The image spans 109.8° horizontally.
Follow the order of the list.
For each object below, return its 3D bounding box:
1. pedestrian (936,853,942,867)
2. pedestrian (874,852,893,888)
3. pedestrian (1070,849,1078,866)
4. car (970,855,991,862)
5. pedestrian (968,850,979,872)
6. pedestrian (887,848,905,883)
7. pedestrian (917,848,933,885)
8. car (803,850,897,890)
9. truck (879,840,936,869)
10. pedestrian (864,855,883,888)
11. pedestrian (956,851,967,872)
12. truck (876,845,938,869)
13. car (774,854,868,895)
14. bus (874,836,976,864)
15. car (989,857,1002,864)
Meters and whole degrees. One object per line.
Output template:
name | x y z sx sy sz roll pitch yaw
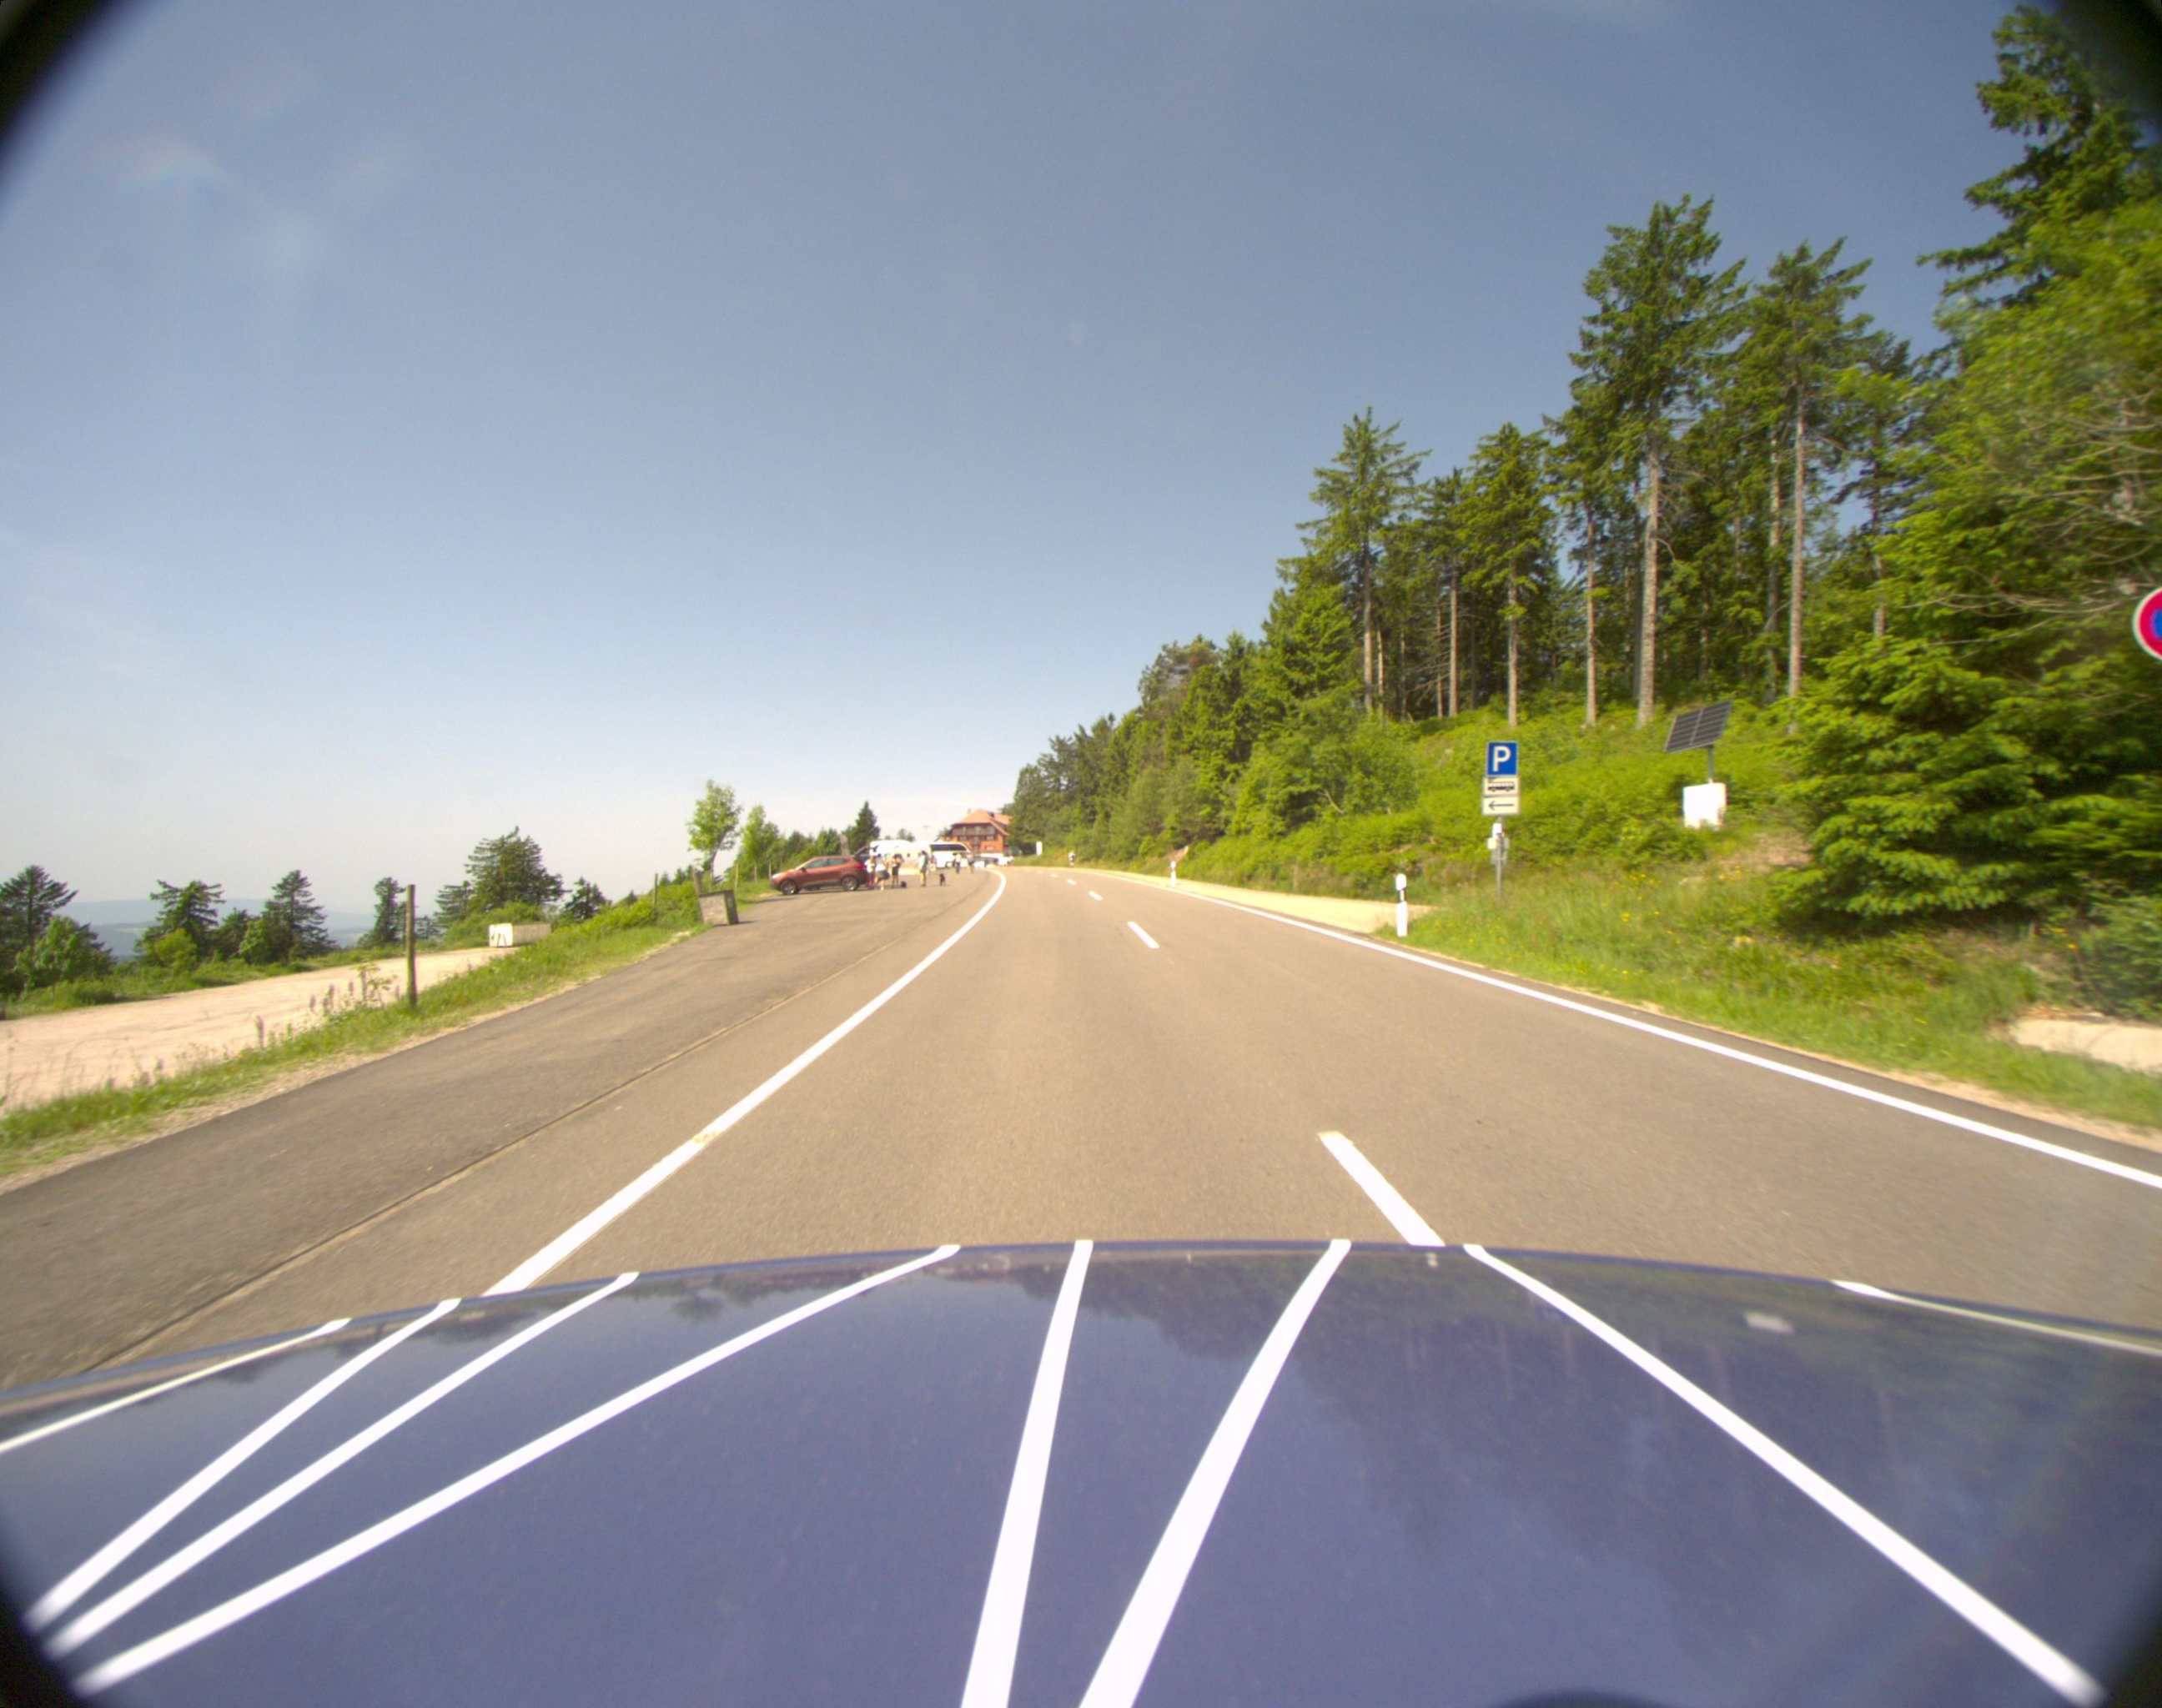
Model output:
pedestrian | -17.502 0.784 93.731 0.631 1.747 0.628 0 0 4
pedestrian | -9.172 0.758 35.362 0.654 1.650 0.688 0 -1 4
pedestrian | -0.712 0.324 78.474 0.685 1.736 0.824 -1 1 -15
car | -21.254 0.930 161.269 3.955 1.578 1.792 0 -1 17
pedestrian | -8.868 0.592 62.848 0.755 1.750 0.776 0 0 5
pedestrian | -8.946 0.564 36.756 0.718 1.682 0.619 -1 1 -2
pedestrian | -7.505 0.595 36.583 0.618 1.765 0.723 -1 1 -2
car | -11.674 0.778 38.672 4.277 1.784 1.890 -2 2 -7
truck | -19.166 0.076 84.311 6.085 3.177 2.530 0 0 -12
pedestrian | -9.977 0.833 36.540 0.618 1.577 0.736 0 -1 11
pedestrian | -9.898 0.607 62.770 0.666 1.731 0.894 0 0 5
truck | -18.508 0.325 81.044 6.281 2.575 2.338 0 0 -9
car | -11.840 0.898 34.803 3.830 1.651 1.651 -3 1 -13
bus | -20.350 -0.510 99.572 12.888 3.556 2.837 0 0 -9
car | -20.224 1.584 179.584 1.711 1.543 3.140 0 0 20
